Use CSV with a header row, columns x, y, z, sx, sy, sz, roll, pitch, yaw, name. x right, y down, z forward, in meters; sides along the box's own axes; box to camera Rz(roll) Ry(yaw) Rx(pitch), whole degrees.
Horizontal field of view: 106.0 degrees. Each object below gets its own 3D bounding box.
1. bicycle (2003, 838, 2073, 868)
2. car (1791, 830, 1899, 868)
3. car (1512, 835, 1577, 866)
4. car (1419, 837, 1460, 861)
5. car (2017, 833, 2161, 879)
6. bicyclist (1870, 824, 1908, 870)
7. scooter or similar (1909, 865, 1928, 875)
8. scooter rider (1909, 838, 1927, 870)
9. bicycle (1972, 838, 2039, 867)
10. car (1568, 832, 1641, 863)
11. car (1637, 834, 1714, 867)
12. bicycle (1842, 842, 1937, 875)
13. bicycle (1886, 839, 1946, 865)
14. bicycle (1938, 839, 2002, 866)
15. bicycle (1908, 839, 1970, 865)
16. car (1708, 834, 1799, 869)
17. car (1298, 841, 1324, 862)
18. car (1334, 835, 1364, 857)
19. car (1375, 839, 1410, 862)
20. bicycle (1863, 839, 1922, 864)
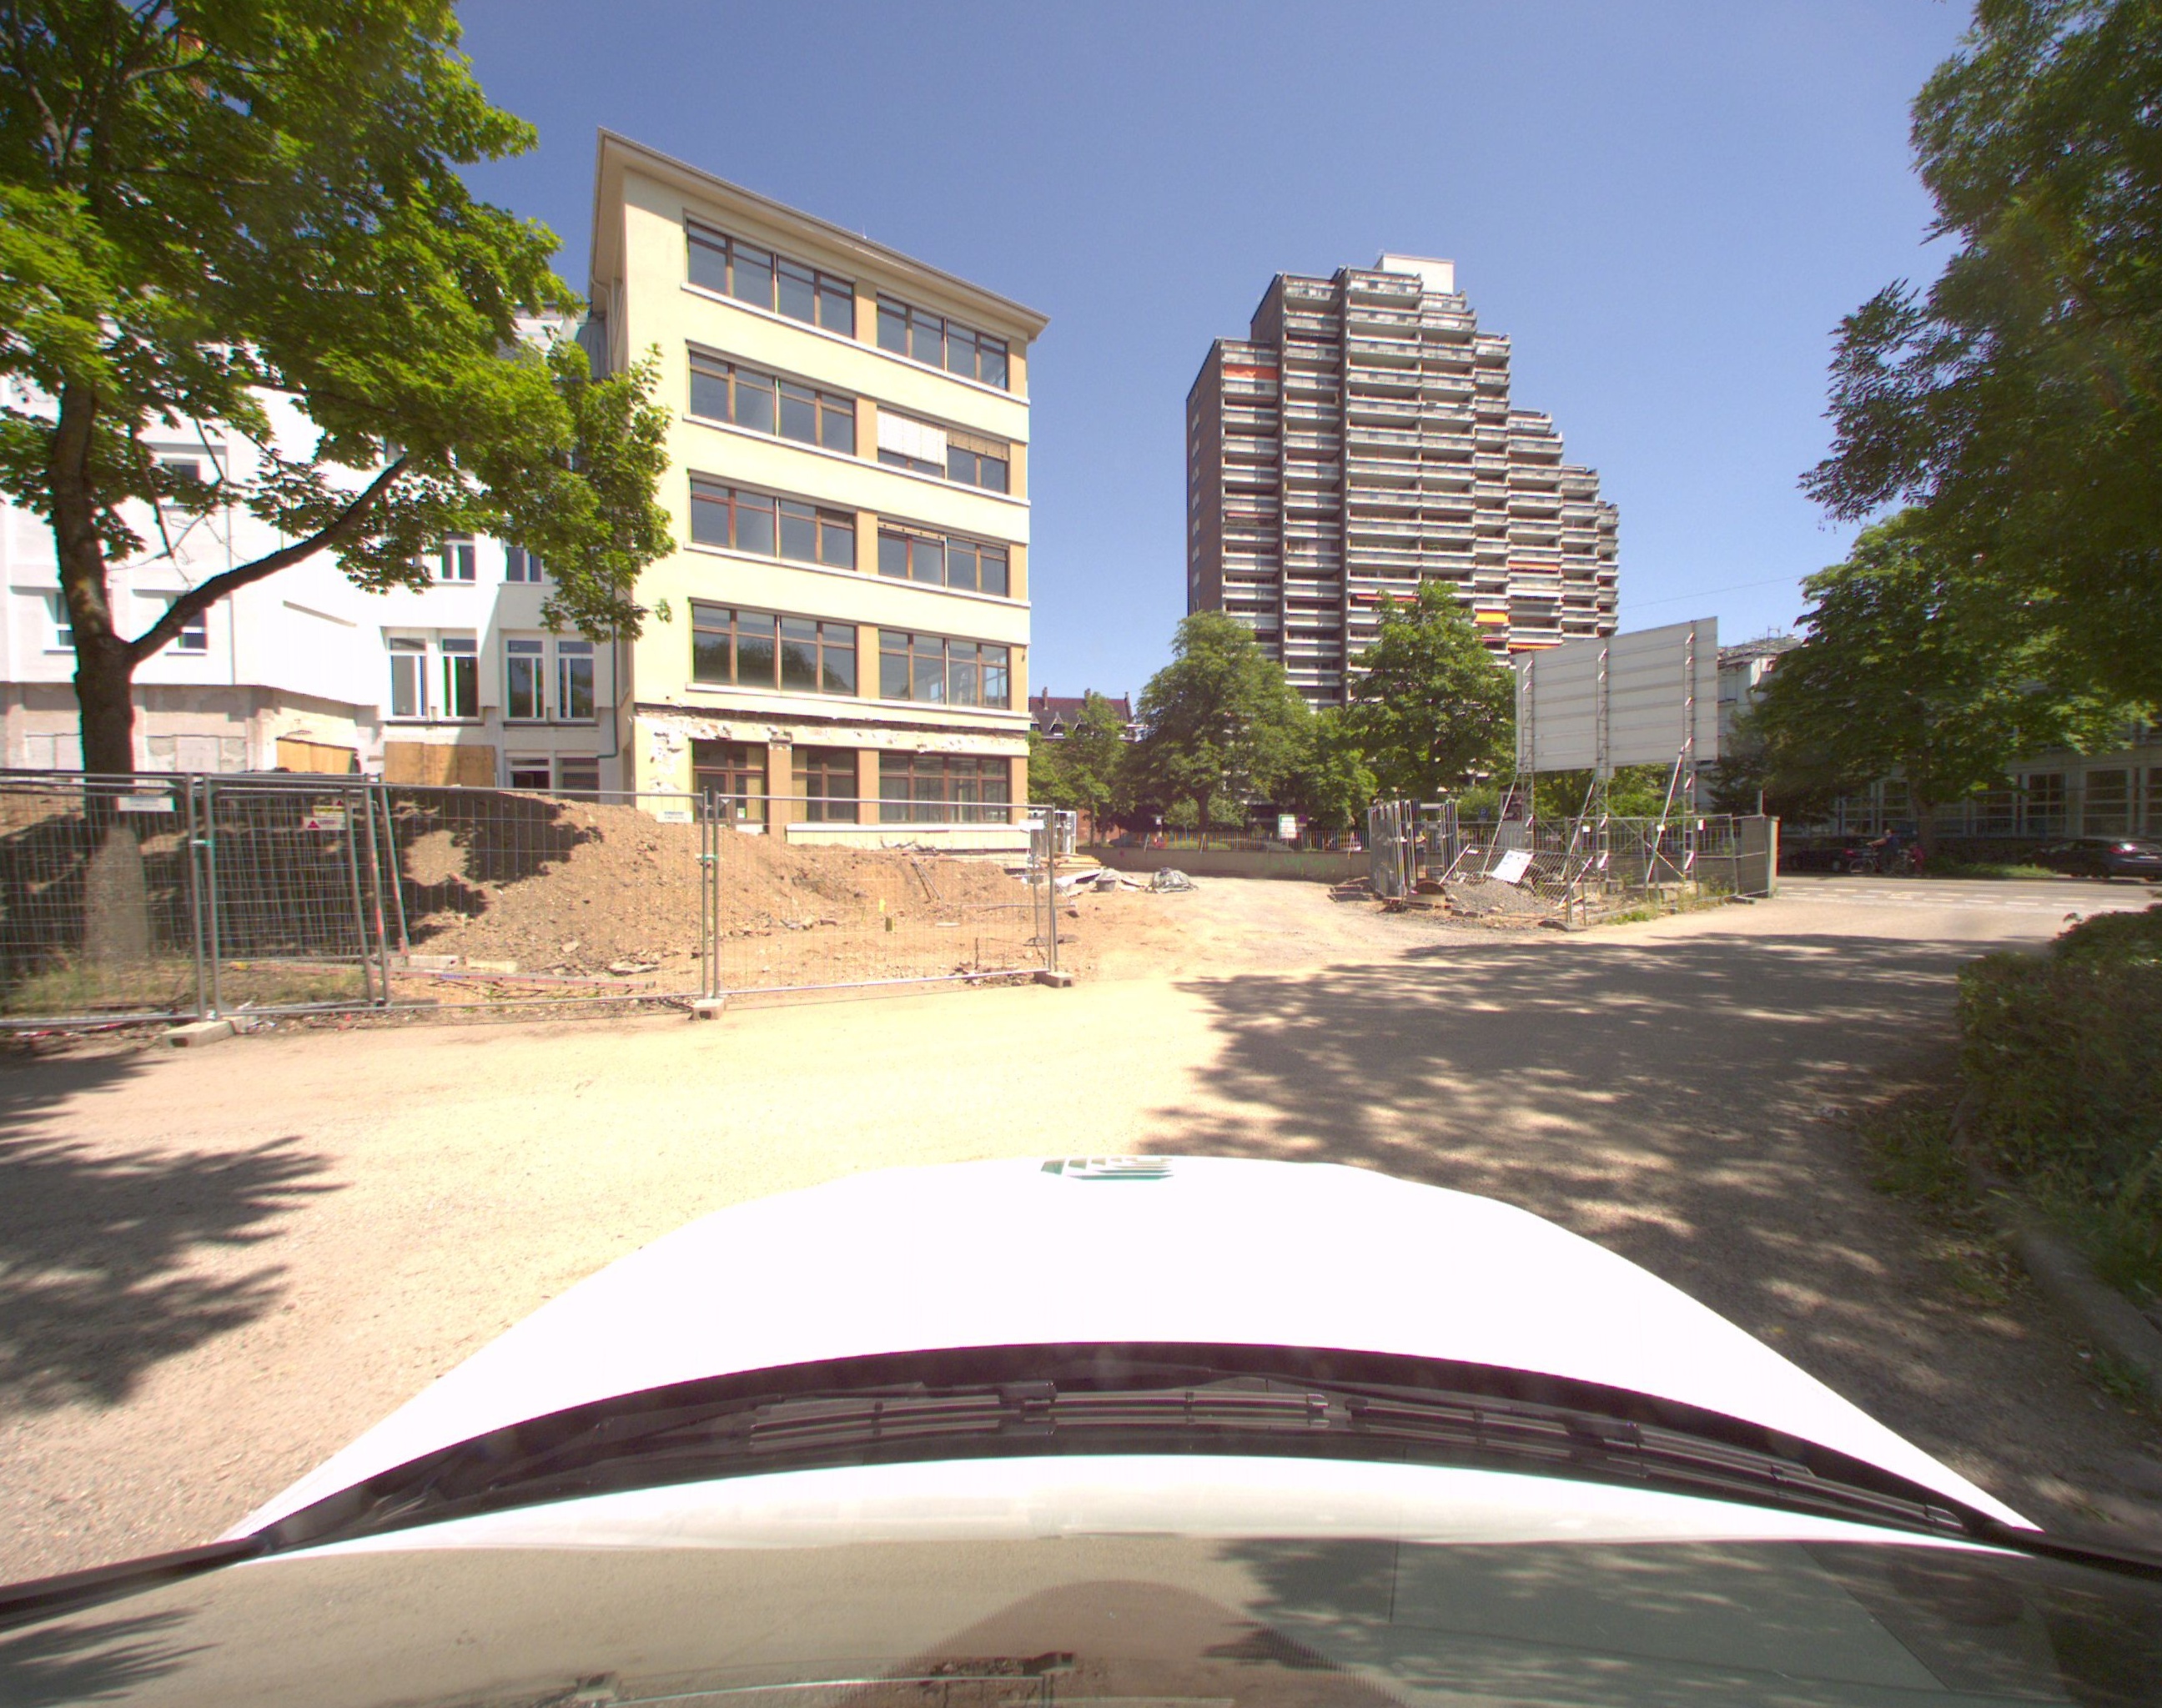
x,y,z,sx,sy,sz,roll,pitch,yaw,name
39.286,-0.063,33.439,2.425,1.188,0.780,-1,1,-11,bicycle
31.298,-0.210,33.490,1.622,1.463,3.691,0,1,13,car
23.119,-0.200,40.749,1.623,1.463,3.687,0,1,9,car
21.110,-0.301,48.077,1.621,1.387,3.692,0,1,14,car
35.105,0.038,28.140,1.630,1.463,3.687,0,1,8,car
29.689,-0.255,29.913,0.862,1.665,0.890,-1,0,-38,bicyclist
29.660,0.557,28.847,0.367,0.359,0.441,0,0,-38,scooter or similar
29.656,-0.011,28.852,0.361,1.134,0.412,-1,0,-38,scooter rider
39.122,-0.074,34.464,2.425,1.188,0.780,-1,1,-11,bicycle
25.623,-0.321,39.991,1.623,1.463,3.687,0,1,9,car
27.728,-0.163,38.119,1.622,1.463,3.691,0,1,13,car
29.670,0.134,29.914,0.790,1.151,2.412,-1,1,-38,bicycle
38.437,-0.100,37.484,2.377,1.157,0.780,-1,1,-11,bicycle
38.898,-0.074,35.650,2.377,1.157,0.780,-1,1,-11,bicycle
38.632,-0.098,36.657,2.377,1.157,0.780,-1,1,-11,bicycle
29.606,-0.127,35.980,1.622,1.463,3.691,0,1,13,car
15.610,-0.198,55.386,1.621,1.387,3.692,0,1,14,car
17.710,-0.519,53.893,1.621,1.387,3.692,0,1,14,car
19.458,-0.212,51.018,1.621,1.387,3.692,0,1,14,car
38.296,-0.123,38.425,2.377,1.157,0.780,-1,1,-11,bicycle
